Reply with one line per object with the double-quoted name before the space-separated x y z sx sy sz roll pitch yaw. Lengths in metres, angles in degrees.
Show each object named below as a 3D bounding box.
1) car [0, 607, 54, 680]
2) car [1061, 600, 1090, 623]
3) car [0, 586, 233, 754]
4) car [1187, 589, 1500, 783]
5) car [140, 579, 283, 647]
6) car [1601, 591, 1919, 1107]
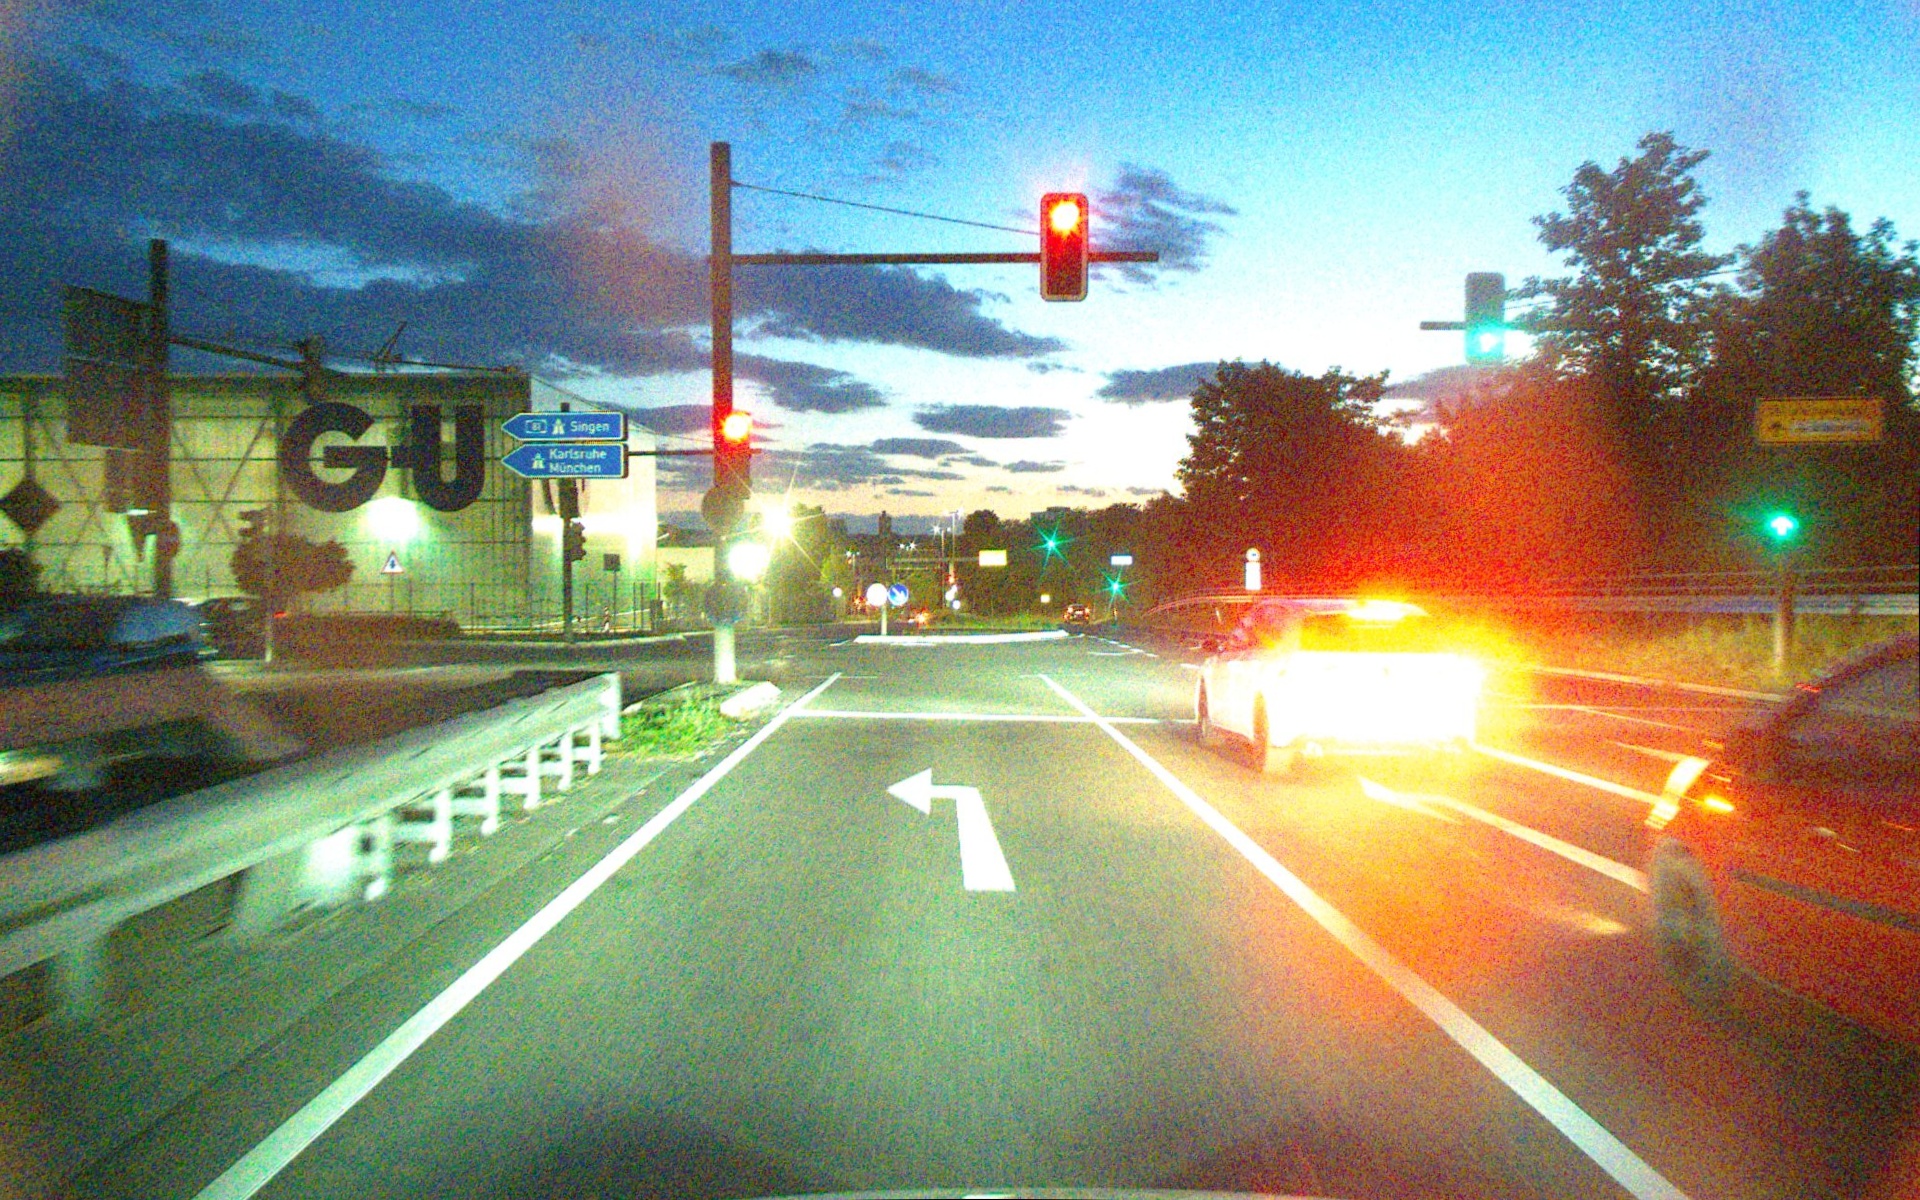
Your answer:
"car" -21.513 0.940 34.981 3.776 1.500 1.706 -1 -1 5
"car" 8.822 0.855 126.709 1.896 1.675 3.999 0 1 -1
"car" -9.153 0.661 17.344 1.514 1.546 3.515 -2 1 -1
"car" 3.276 0.663 14.984 1.723 1.485 4.191 1 0 -2
"car" -23.919 0.422 52.888 3.946 2.049 1.979 1 0 -31
"car" 3.585 0.733 5.315 1.619 1.476 3.489 1 1 -1
